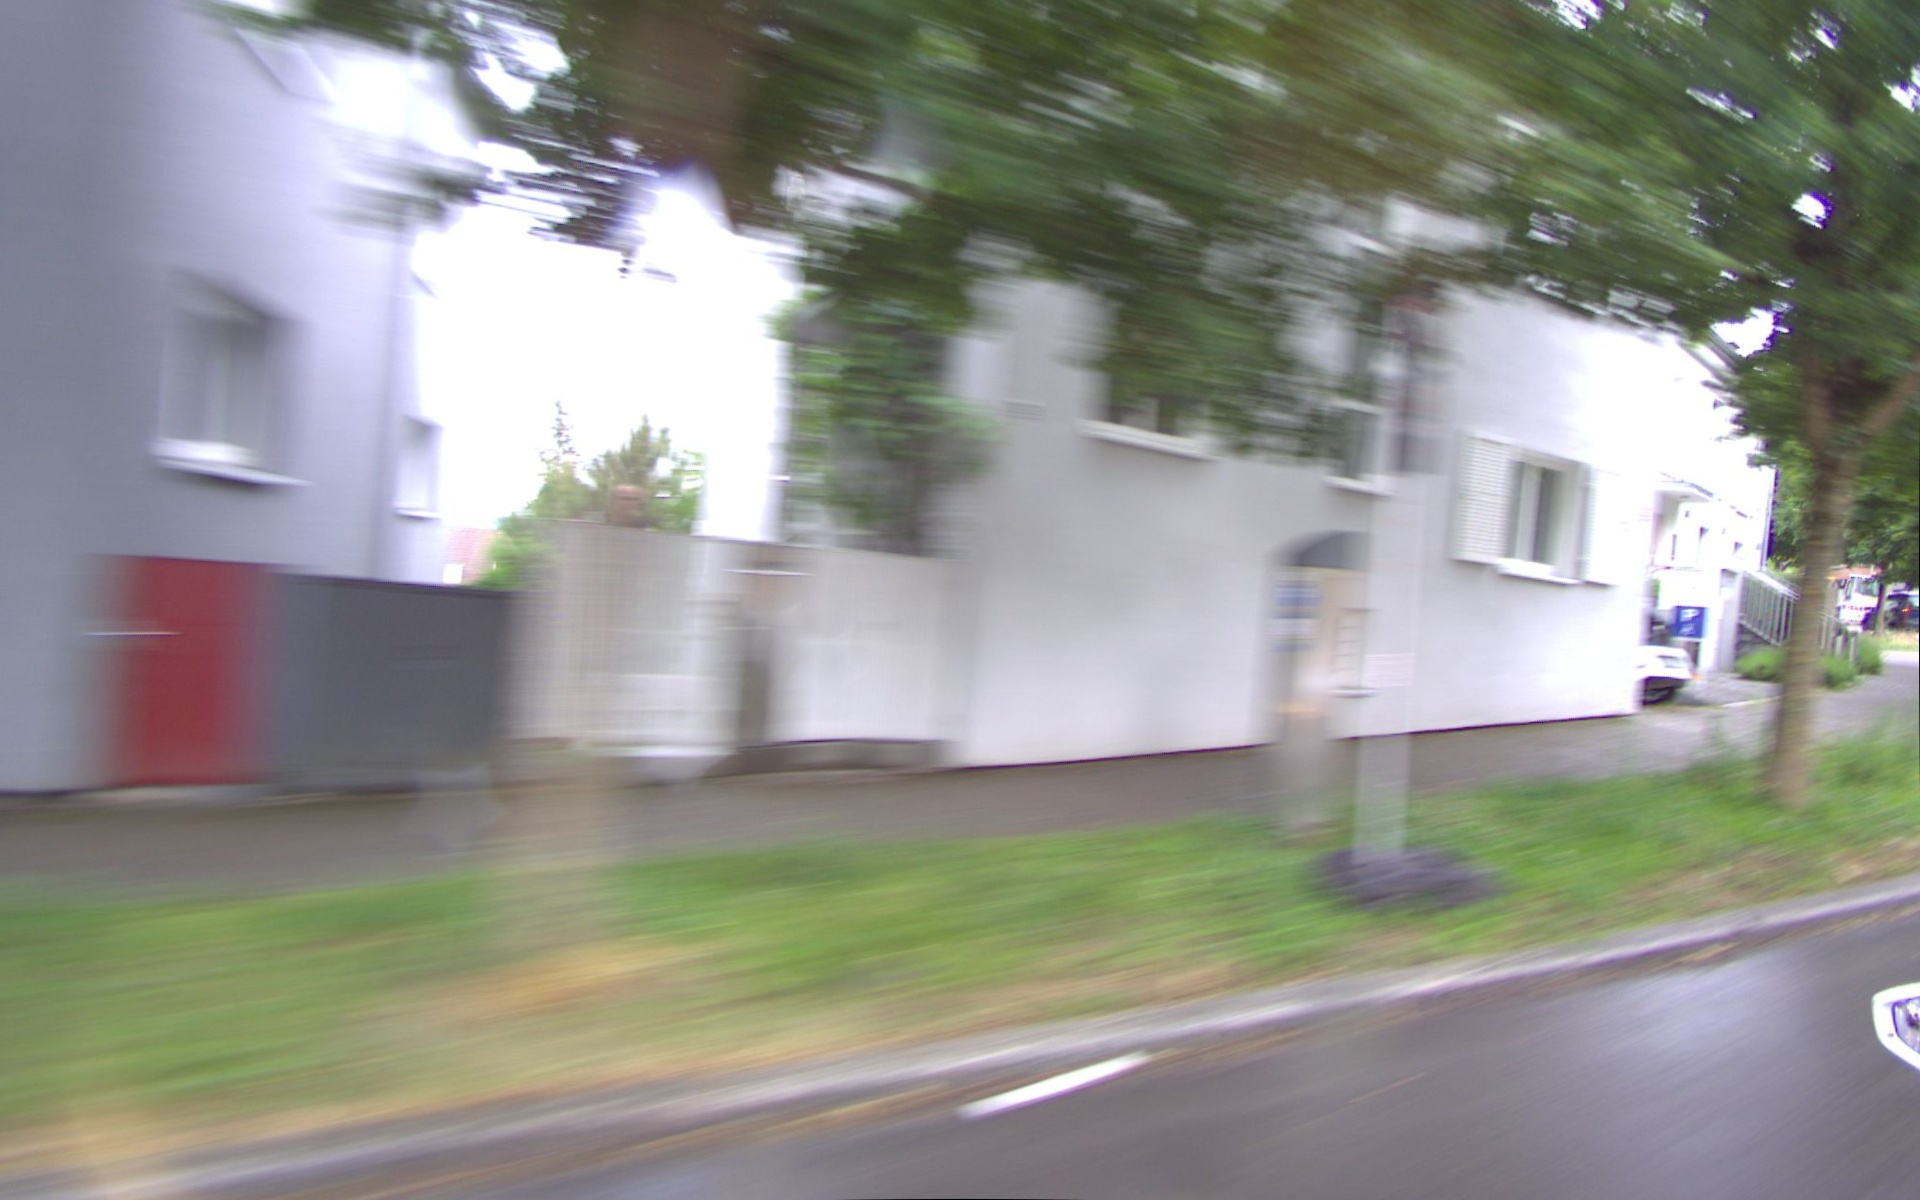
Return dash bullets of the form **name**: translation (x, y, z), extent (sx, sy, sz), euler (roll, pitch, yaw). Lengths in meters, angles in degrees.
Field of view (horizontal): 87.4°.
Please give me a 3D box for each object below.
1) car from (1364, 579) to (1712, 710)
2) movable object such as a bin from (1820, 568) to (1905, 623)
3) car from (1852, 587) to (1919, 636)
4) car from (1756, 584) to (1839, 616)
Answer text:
- **car**: translation (8.056, 0.532, 14.380), extent (1.730, 1.582, 3.967), euler (2, 0, -31)
- **movable object such as a bin**: translation (47.424, -0.290, 52.872), extent (1.961, 2.649, 3.997), euler (2, 4, 22)
- **car**: translation (37.435, 0.488, 39.893), extent (1.963, 1.817, 3.996), euler (2, -1, 27)
- **car**: translation (42.099, 0.034, 50.625), extent (1.692, 1.506, 4.078), euler (2, -1, 16)
